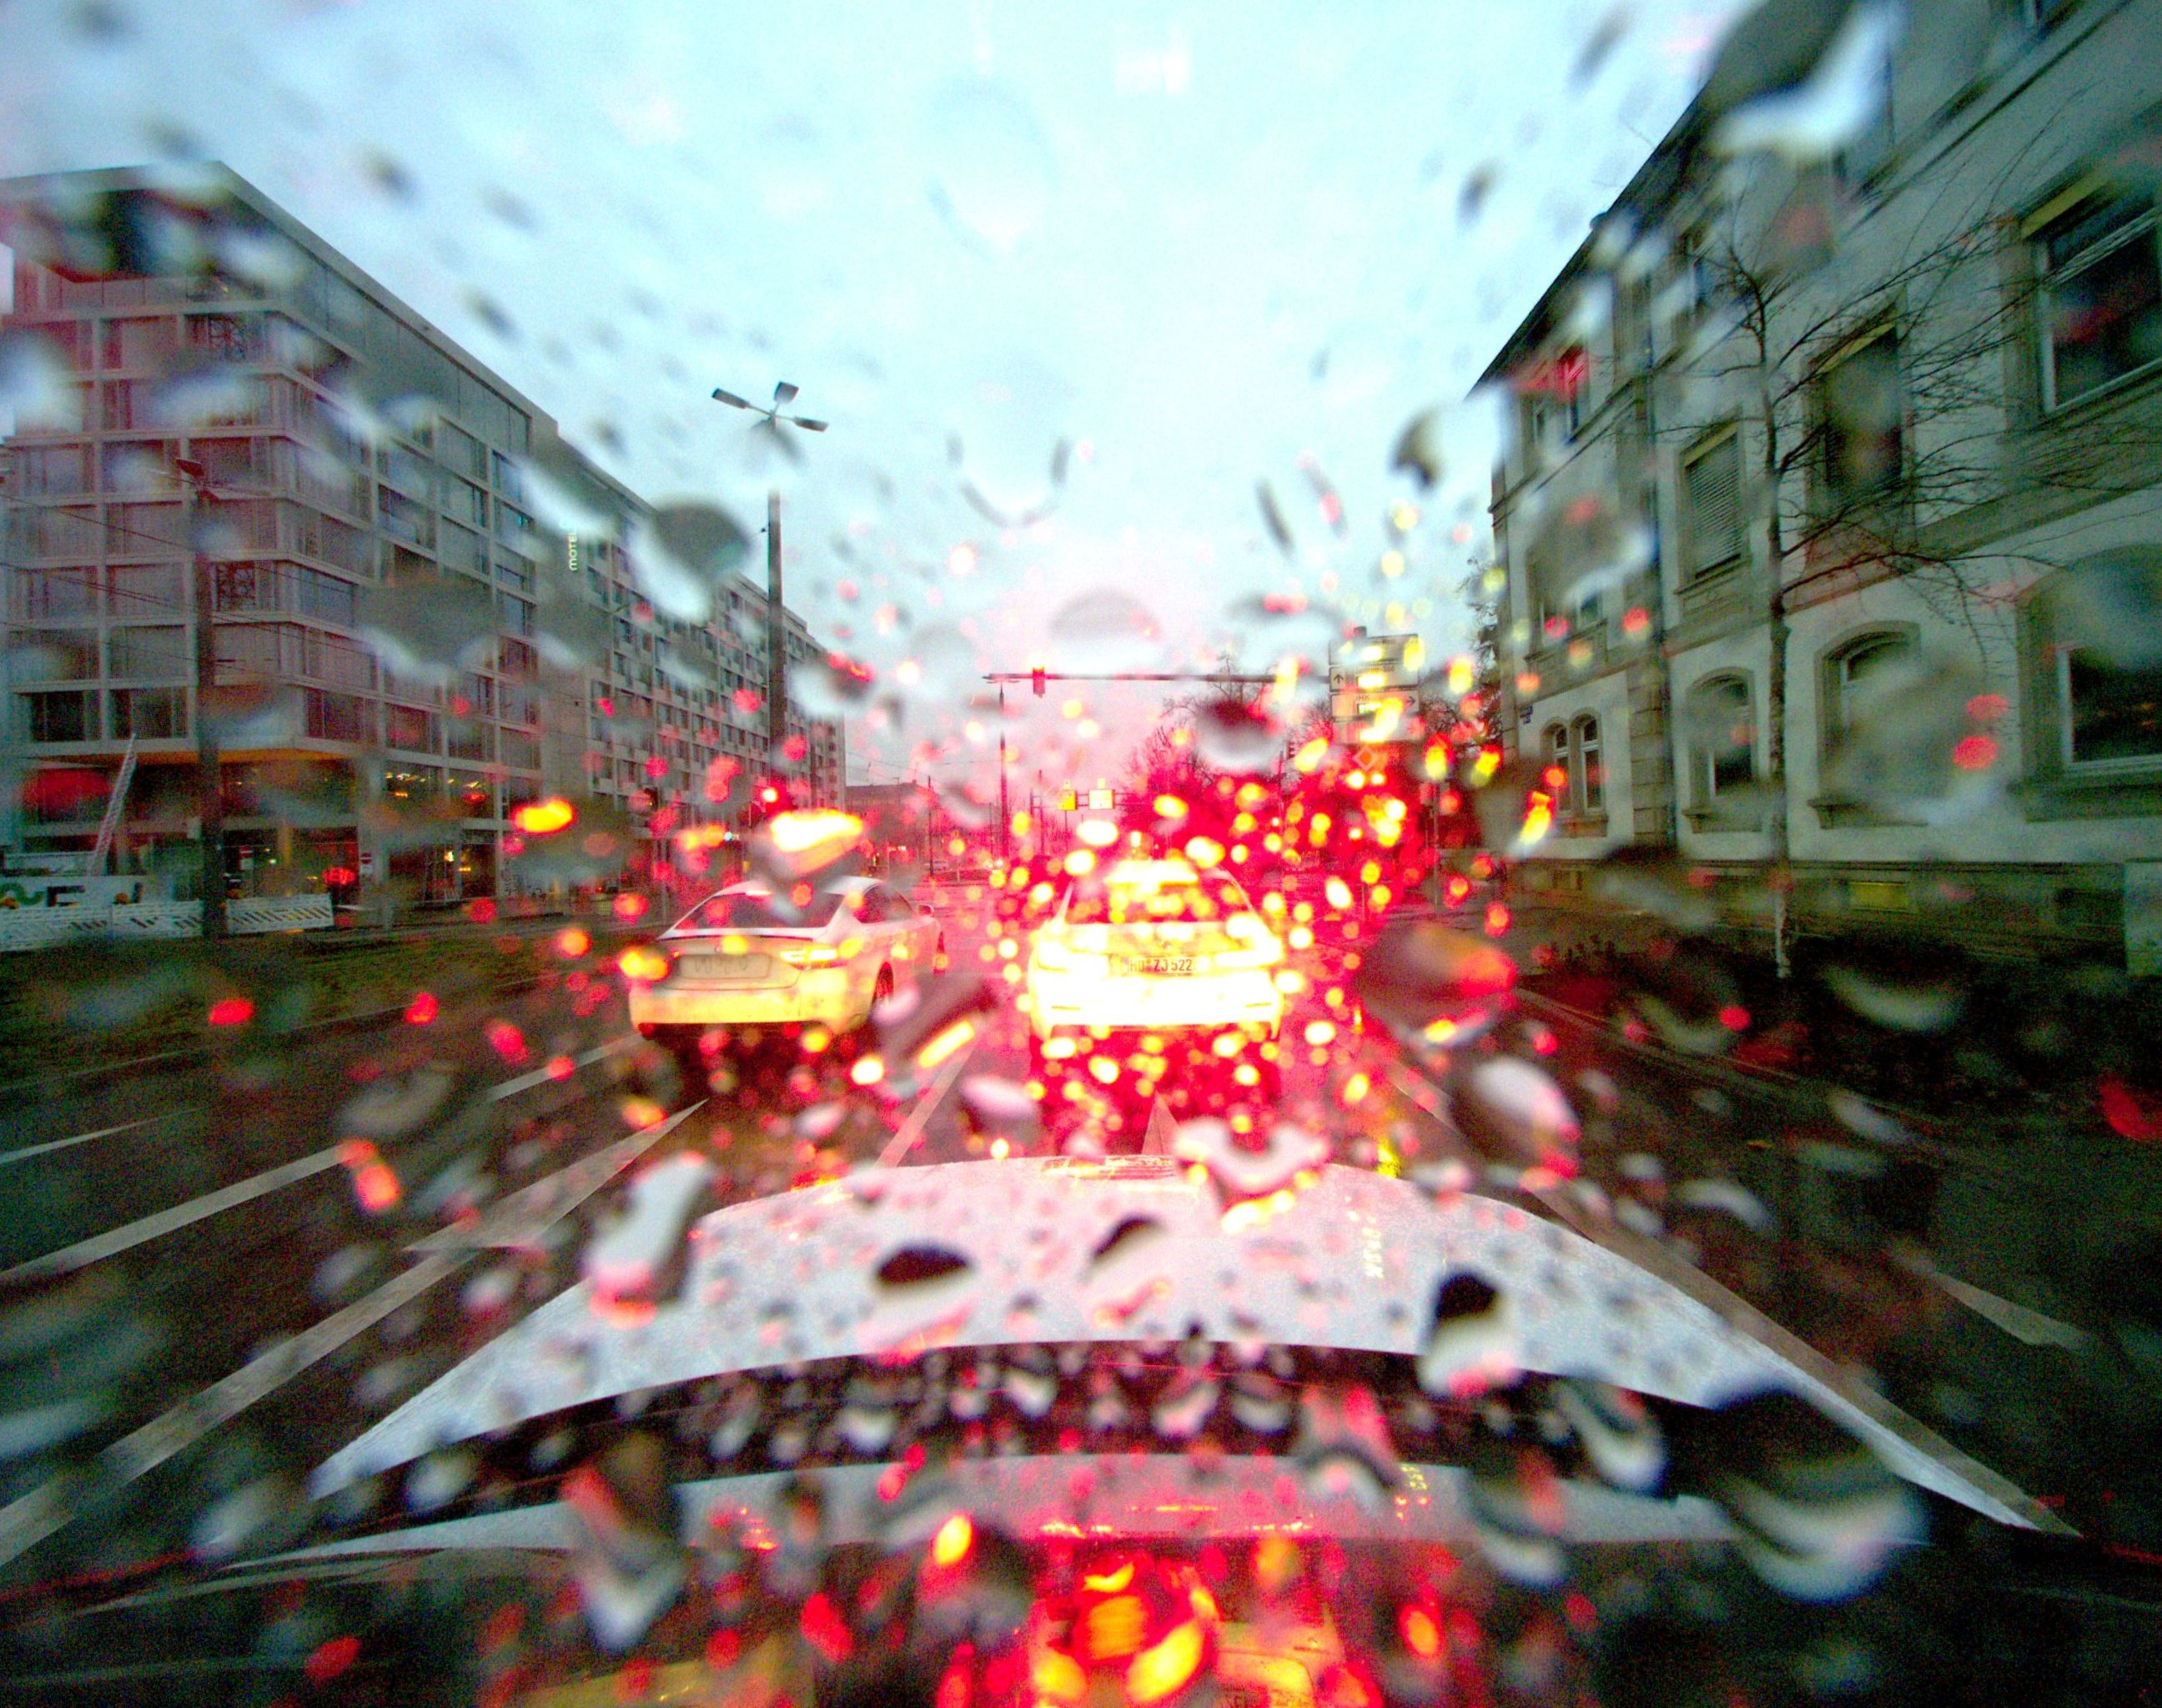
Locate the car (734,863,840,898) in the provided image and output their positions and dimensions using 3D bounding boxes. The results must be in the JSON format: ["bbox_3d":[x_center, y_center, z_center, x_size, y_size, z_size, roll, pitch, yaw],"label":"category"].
[{"bbox_3d":[-13.263,1.189,36.758,4.278,1.530,1.771,-1,-1,18],"label":"car"}]

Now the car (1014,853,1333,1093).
[{"bbox_3d":[0.584,0.747,7.321,1.987,1.456,4.367,-1,0,0],"label":"car"}]

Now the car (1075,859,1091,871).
[{"bbox_3d":[0.265,1.456,110.488,1.987,1.456,4.367,-1,0,0],"label":"car"}]

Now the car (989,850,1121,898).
[{"bbox_3d":[-1.006,0.780,31.255,4.654,1.720,1.911,-1,-1,22],"label":"car"}]

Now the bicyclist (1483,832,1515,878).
[{"bbox_3d":[16.153,0.054,31.493,0.964,1.759,0.817,-1,-1,19],"label":"bicyclist"}]

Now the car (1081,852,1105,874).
[{"bbox_3d":[0.912,0.681,62.816,1.837,1.609,3.945,0,-1,1],"label":"car"}]

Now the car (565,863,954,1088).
[{"bbox_3d":[-2.572,0.870,7.849,1.987,1.456,4.367,-1,0,0],"label":"car"}]

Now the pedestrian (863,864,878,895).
[{"bbox_3d":[-11.721,1.419,45.395,0.791,1.712,0.809,0,-1,-13],"label":"pedestrian"}]

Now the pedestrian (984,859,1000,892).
[{"bbox_3d":[-5.204,1.252,47.543,0.902,1.856,0.810,0,-1,-7],"label":"pedestrian"}]

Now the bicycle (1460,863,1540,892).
[{"bbox_3d":[16.153,0.900,31.469,2.645,1.089,0.819,-1,-1,19],"label":"bicycle"}]
